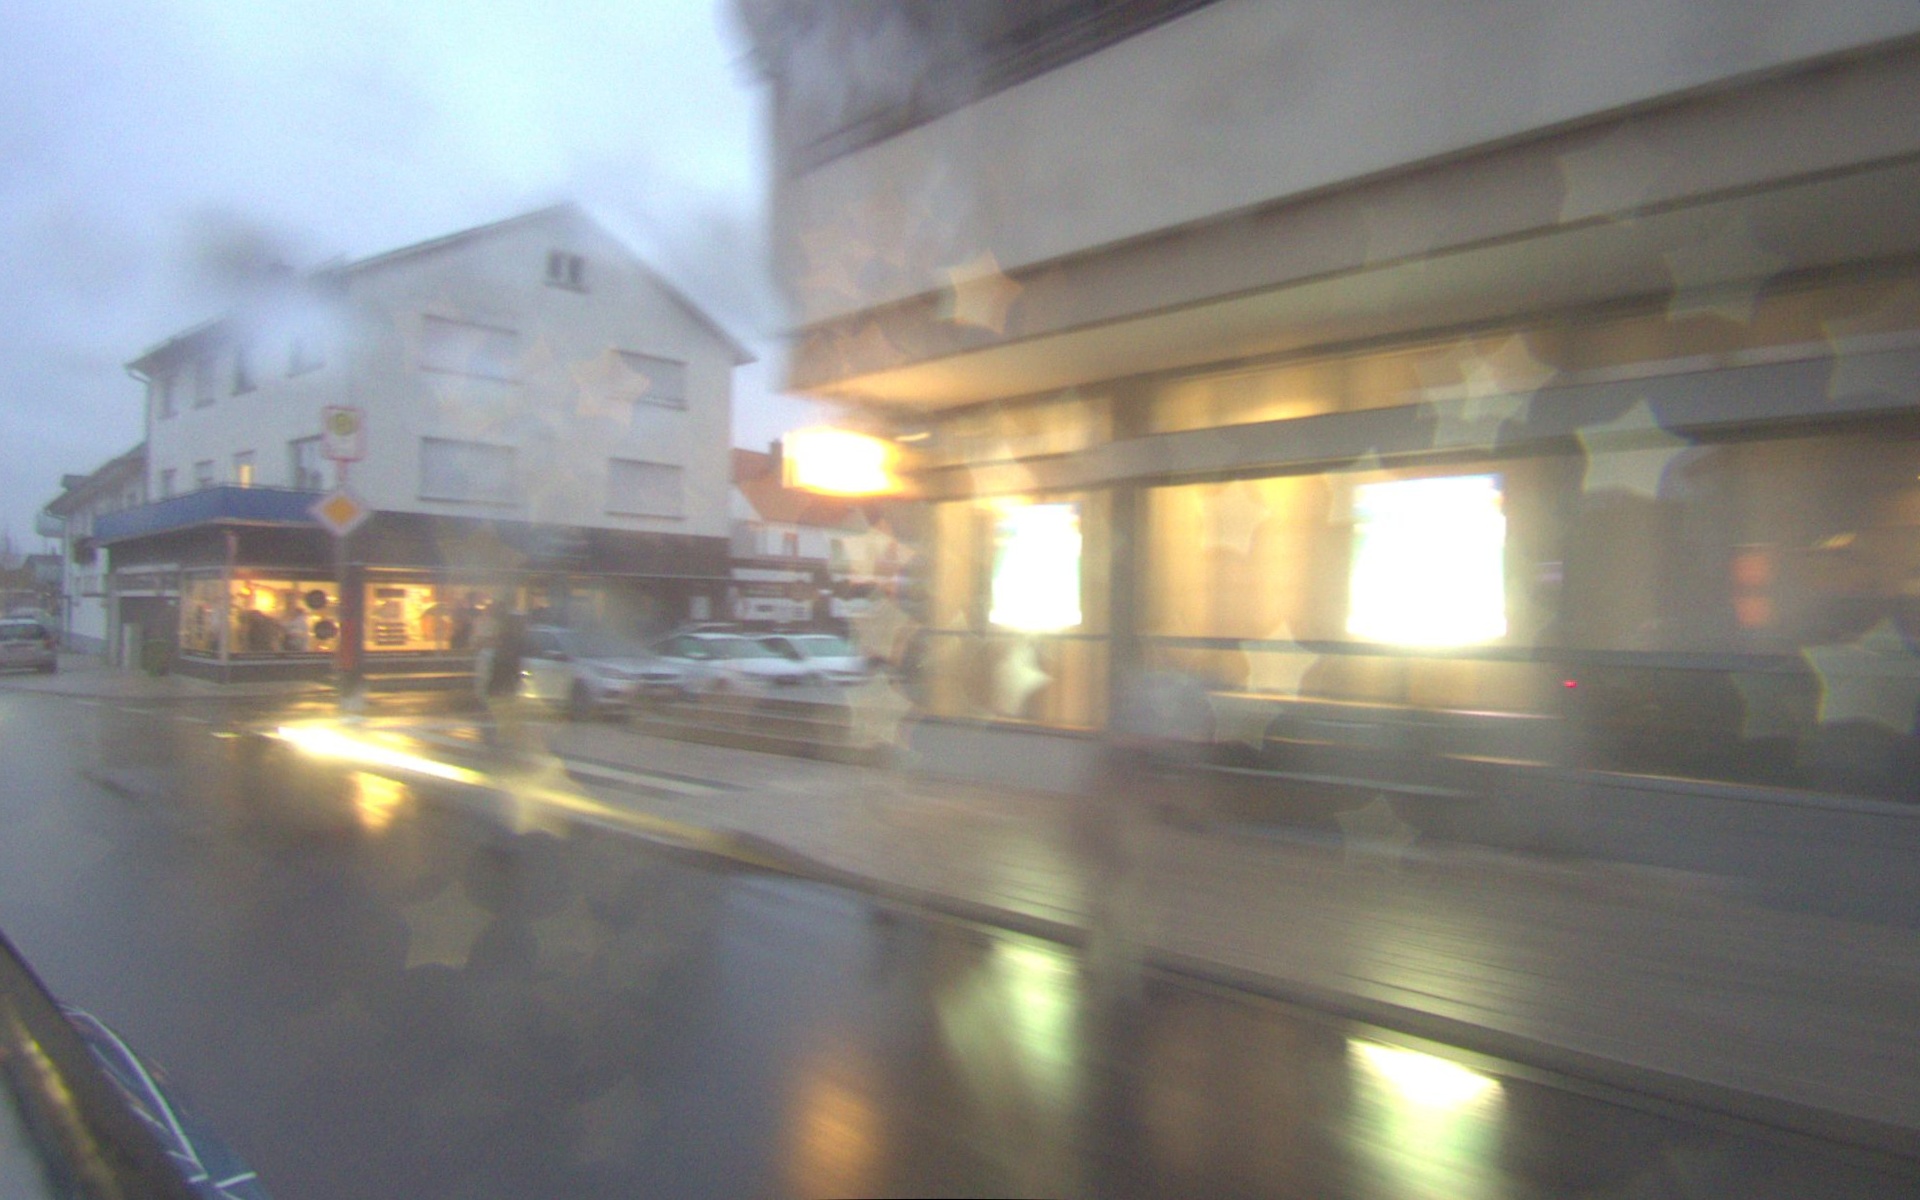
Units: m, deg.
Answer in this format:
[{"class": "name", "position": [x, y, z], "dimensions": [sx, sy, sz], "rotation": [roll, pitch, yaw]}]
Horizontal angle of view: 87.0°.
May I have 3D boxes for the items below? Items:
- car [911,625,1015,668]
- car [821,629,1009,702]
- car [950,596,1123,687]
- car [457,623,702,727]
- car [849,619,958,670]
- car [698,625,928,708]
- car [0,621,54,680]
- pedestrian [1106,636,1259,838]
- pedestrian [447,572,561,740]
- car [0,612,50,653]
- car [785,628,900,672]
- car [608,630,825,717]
[{"class": "car", "position": [0.115, 1.932, 41.600], "dimensions": [3.943, 1.665, 1.691], "rotation": [-2, -3, 21]}, {"class": "car", "position": [-1.105, 1.459, 22.665], "dimensions": [1.678, 1.475, 4.453], "rotation": [2, -4, -44]}, {"class": "car", "position": [2.668, 1.317, 33.129], "dimensions": [1.977, 2.682, 6.670], "rotation": [0, -2, 42]}, {"class": "car", "position": [-6.389, 1.212, 16.774], "dimensions": [4.443, 1.511, 1.747], "rotation": [-3, -4, 38]}, {"class": "car", "position": [-2.231, 1.774, 39.883], "dimensions": [3.943, 1.885, 1.691], "rotation": [-2, -3, 21]}, {"class": "car", "position": [-3.159, 1.352, 20.940], "dimensions": [5.045, 1.511, 2.079], "rotation": [-4, -4, 44]}, {"class": "car", "position": [-28.215, 1.475, 29.908], "dimensions": [3.814, 1.626, 1.703], "rotation": [-2, 0, 42]}, {"class": "pedestrian", "position": [1.610, 0.934, 7.319], "dimensions": [0.827, 1.320, 0.748], "rotation": [-1, 0, 39]}, {"class": "pedestrian", "position": [-5.565, 0.671, 12.426], "dimensions": [1.181, 1.953, 0.979], "rotation": [0, -2, -19]}, {"class": "car", "position": [-65.195, 2.242, 70.531], "dimensions": [2.014, 2.679, 4.221], "rotation": [-2, 0, -33]}, {"class": "car", "position": [-4.391, 1.875, 37.740], "dimensions": [3.943, 1.550, 1.691], "rotation": [-2, -3, 21]}, {"class": "car", "position": [-4.571, 1.324, 18.595], "dimensions": [4.449, 1.411, 1.679], "rotation": [-4, -4, 42]}]
